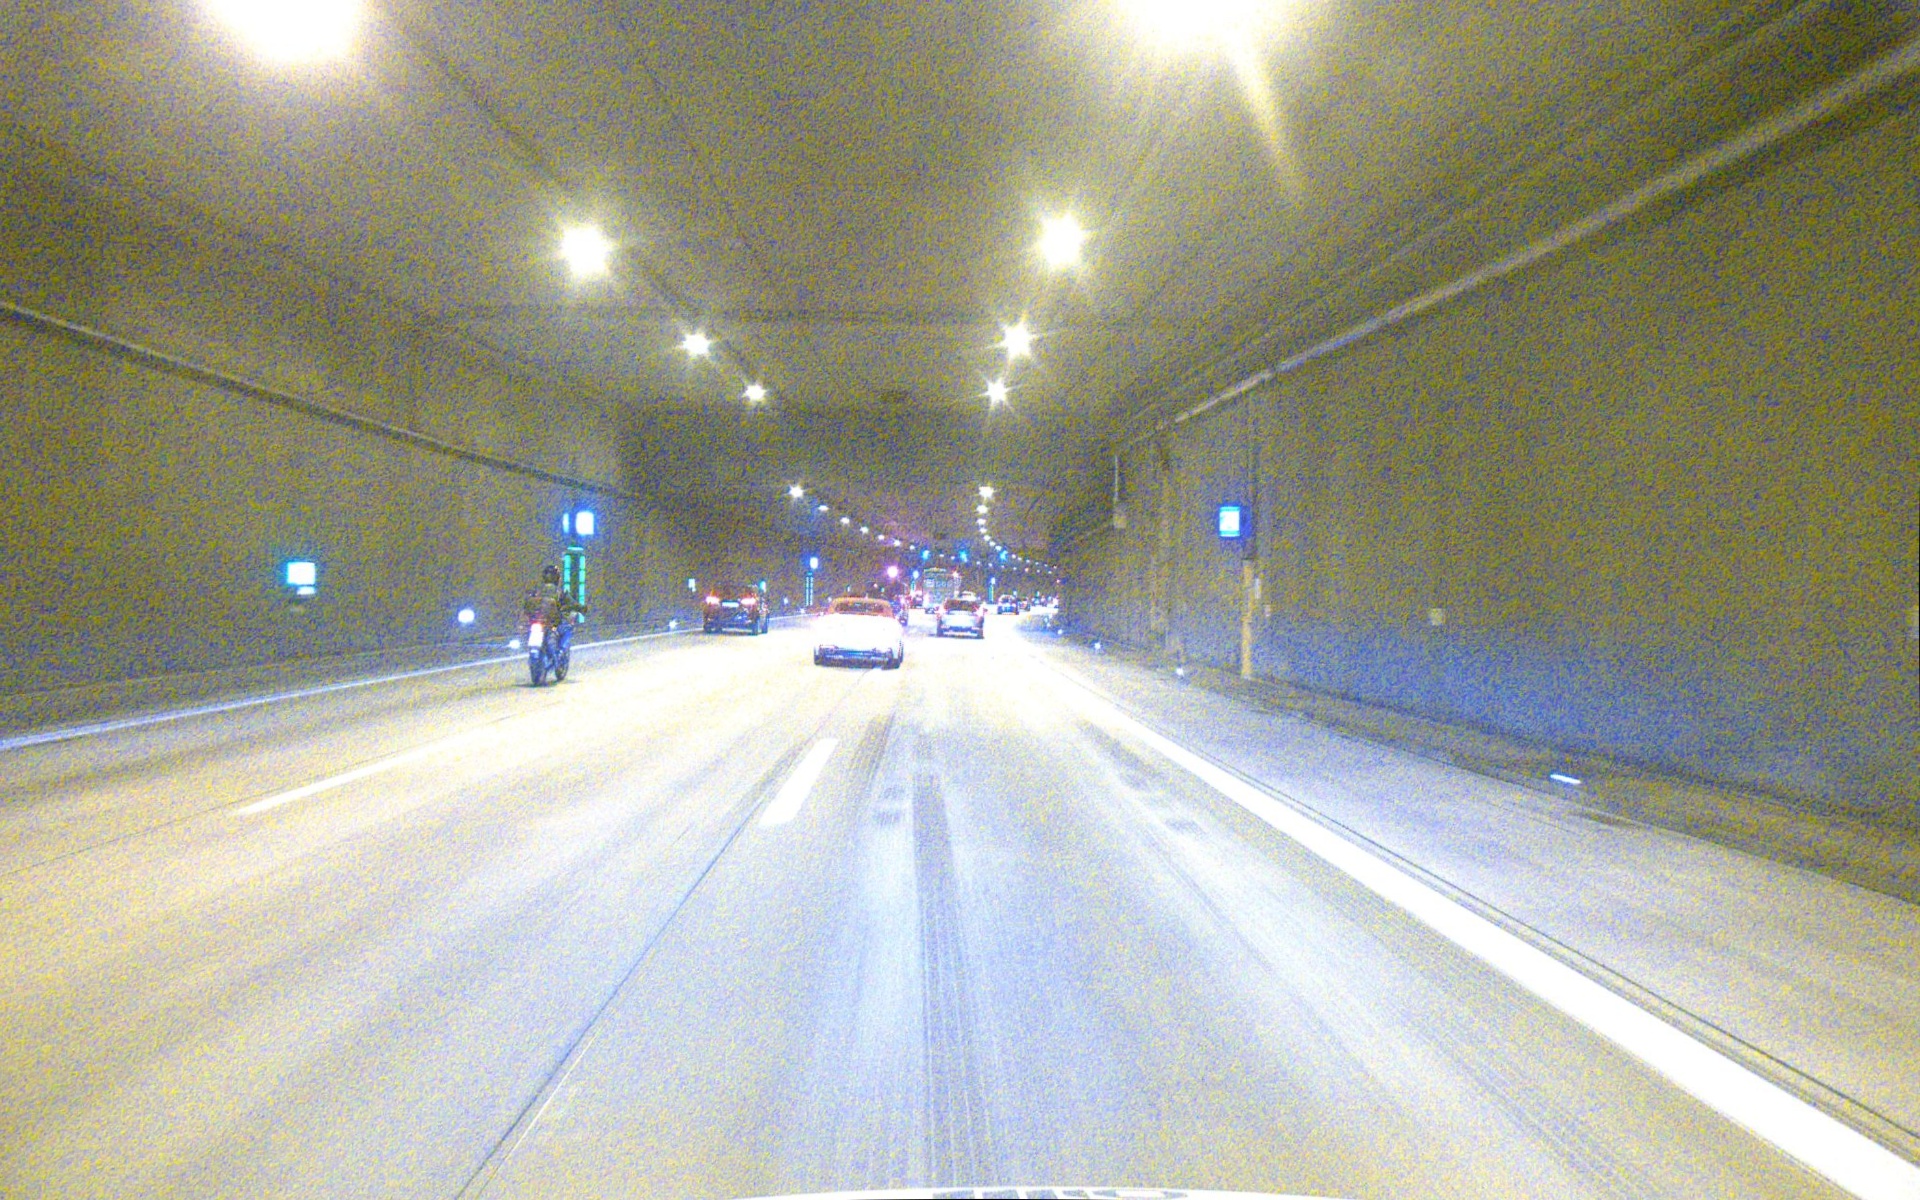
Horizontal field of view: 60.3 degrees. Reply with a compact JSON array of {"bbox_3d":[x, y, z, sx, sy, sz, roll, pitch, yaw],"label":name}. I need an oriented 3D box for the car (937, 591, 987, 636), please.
[{"bbox_3d":[0.039,0.489,62.514,1.802,1.630,3.999,1,0,-1],"label":"car"}]

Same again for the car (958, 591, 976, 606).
[{"bbox_3d":[0.817,-0.161,179.662,1.792,1.646,4.001,1,0,2],"label":"car"}]

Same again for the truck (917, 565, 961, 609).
[{"bbox_3d":[-1.520,-1.029,125.405,3.019,3.167,10.031,0,1,1],"label":"truck"}]

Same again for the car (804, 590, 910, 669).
[{"bbox_3d":[-2.123,0.592,35.187,1.953,1.509,4.000,2,0,0],"label":"car"}]

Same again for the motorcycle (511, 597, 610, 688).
[{"bbox_3d":[-5.884,0.593,24.523,0.828,1.267,2.604,0,0,0],"label":"motorcycle"}]

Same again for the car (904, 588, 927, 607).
[{"bbox_3d":[-3.914,-0.230,145.448,1.805,1.632,4.001,1,0,1],"label":"car"}]

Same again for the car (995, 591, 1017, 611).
[{"bbox_3d":[3.914,0.067,140.748,1.805,1.595,4.001,1,0,1],"label":"car"}]

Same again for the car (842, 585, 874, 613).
[{"bbox_3d":[-6.474,-0.044,105.155,1.763,1.713,4.000,-1,0,0],"label":"car"}]

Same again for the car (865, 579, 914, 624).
[{"bbox_3d":[-3.217,0.062,75.768,1.952,2.006,4.001,1,0,1],"label":"car"}]

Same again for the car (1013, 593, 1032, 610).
[{"bbox_3d":[6.379,0.168,168.482,1.820,1.695,4.000,1,0,0],"label":"car"}]

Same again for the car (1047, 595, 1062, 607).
[{"bbox_3d":[12.201,0.108,213.458,1.805,1.578,4.001,1,0,3],"label":"car"}]

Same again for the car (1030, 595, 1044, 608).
[{"bbox_3d":[10.102,0.161,216.773,1.795,1.721,4.001,1,0,3],"label":"car"}]

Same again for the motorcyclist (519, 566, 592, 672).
[{"bbox_3d":[-5.929,0.272,24.288,0.822,1.503,0.821,-2,0,0],"label":"motorcyclist"}]

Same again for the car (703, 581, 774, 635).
[{"bbox_3d":[-7.041,0.238,52.927,1.749,1.626,3.801,1,0,0],"label":"car"}]
